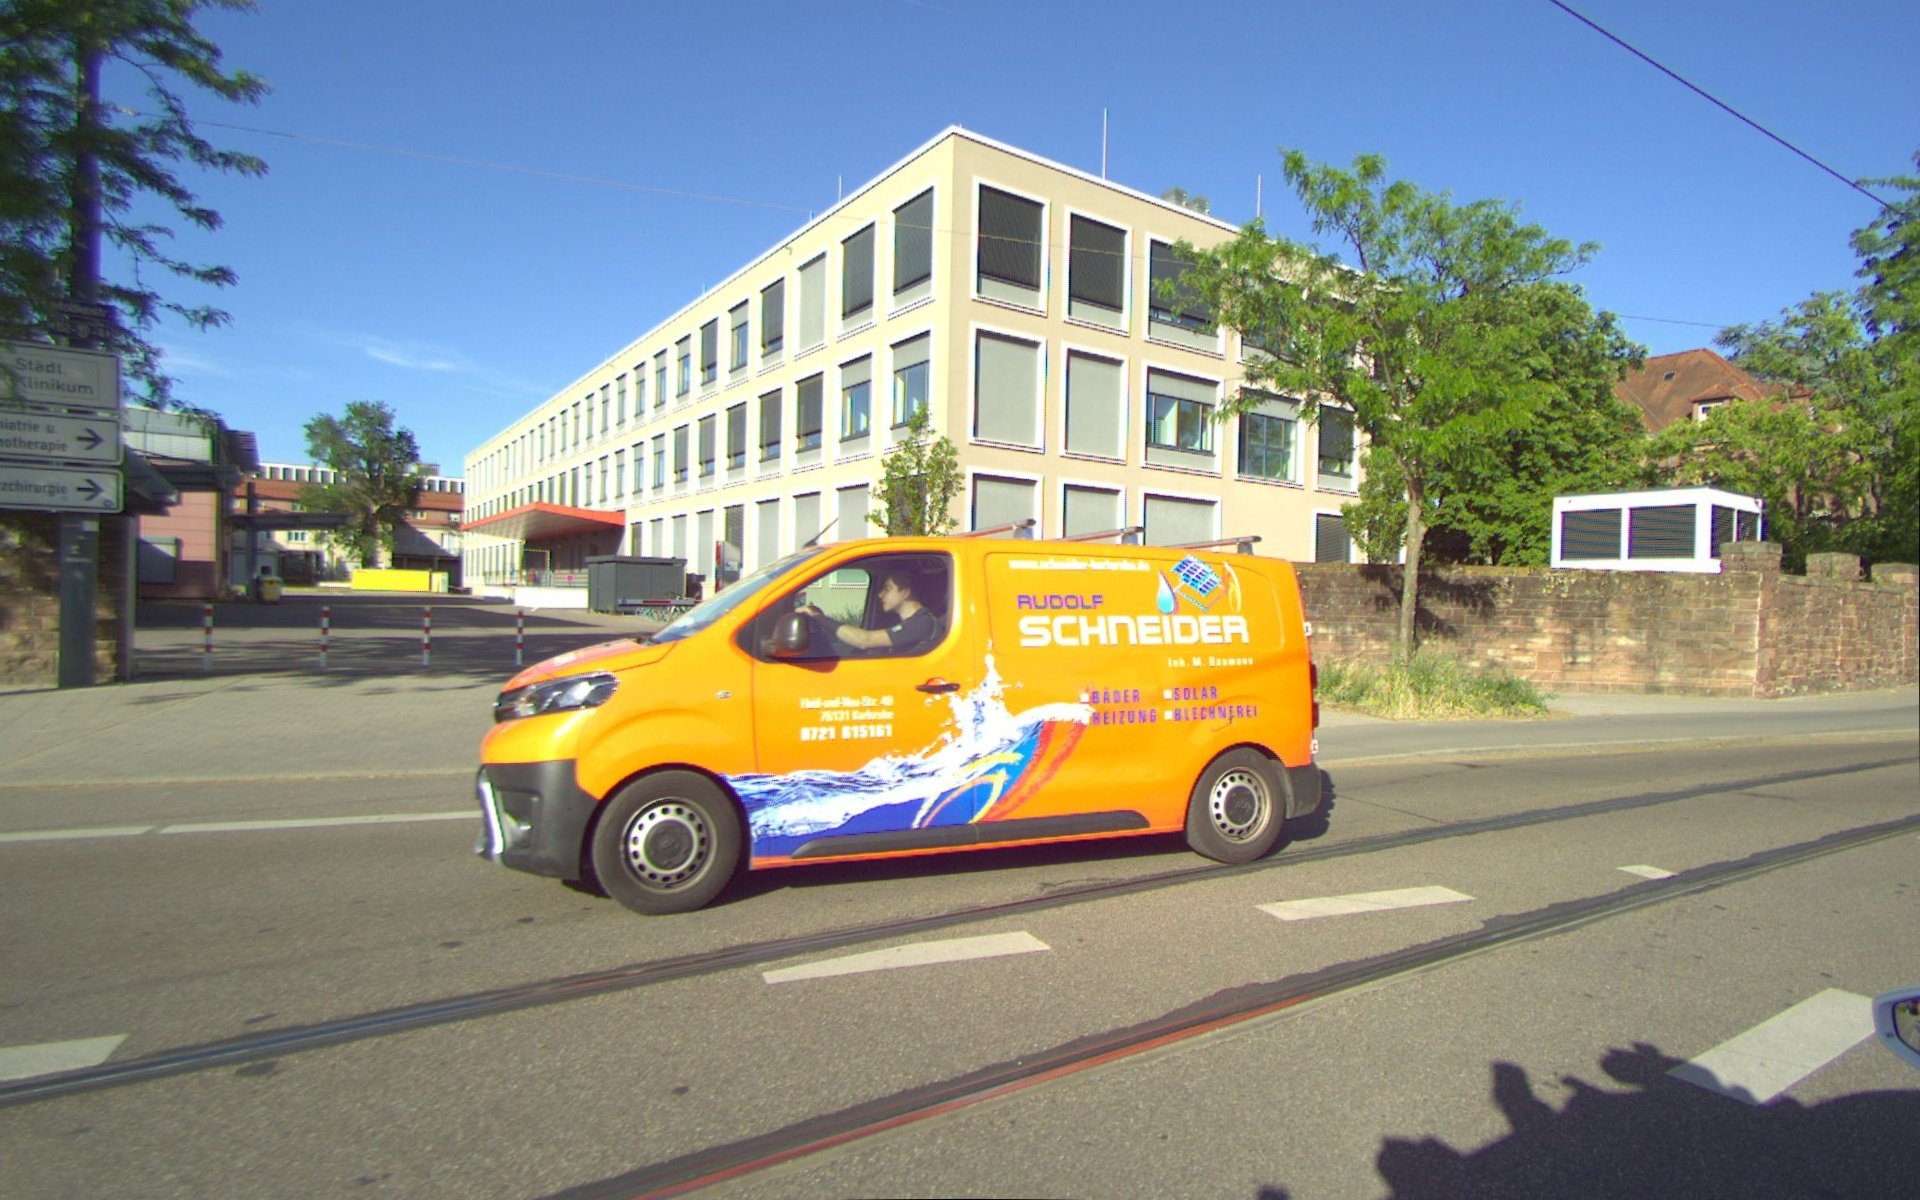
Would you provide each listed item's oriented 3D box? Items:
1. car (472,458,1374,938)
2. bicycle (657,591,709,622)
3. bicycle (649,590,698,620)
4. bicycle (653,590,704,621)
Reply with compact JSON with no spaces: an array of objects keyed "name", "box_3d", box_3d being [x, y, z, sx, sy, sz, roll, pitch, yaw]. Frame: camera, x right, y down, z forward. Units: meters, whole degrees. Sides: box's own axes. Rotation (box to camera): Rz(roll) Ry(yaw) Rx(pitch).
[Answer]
[{"name":"car","box_3d":[-0.135,0.456,6.037,4.863,1.992,1.989,1,0,-23]},{"name":"bicycle","box_3d":[-9.716,0.230,35.263,1.686,1.075,0.456,1,0,-39]},{"name":"bicycle","box_3d":[-10.500,0.181,36.890,1.671,1.076,0.456,0,2,-37]},{"name":"bicycle","box_3d":[-10.070,0.216,35.932,1.670,1.075,0.457,1,0,-36]}]
